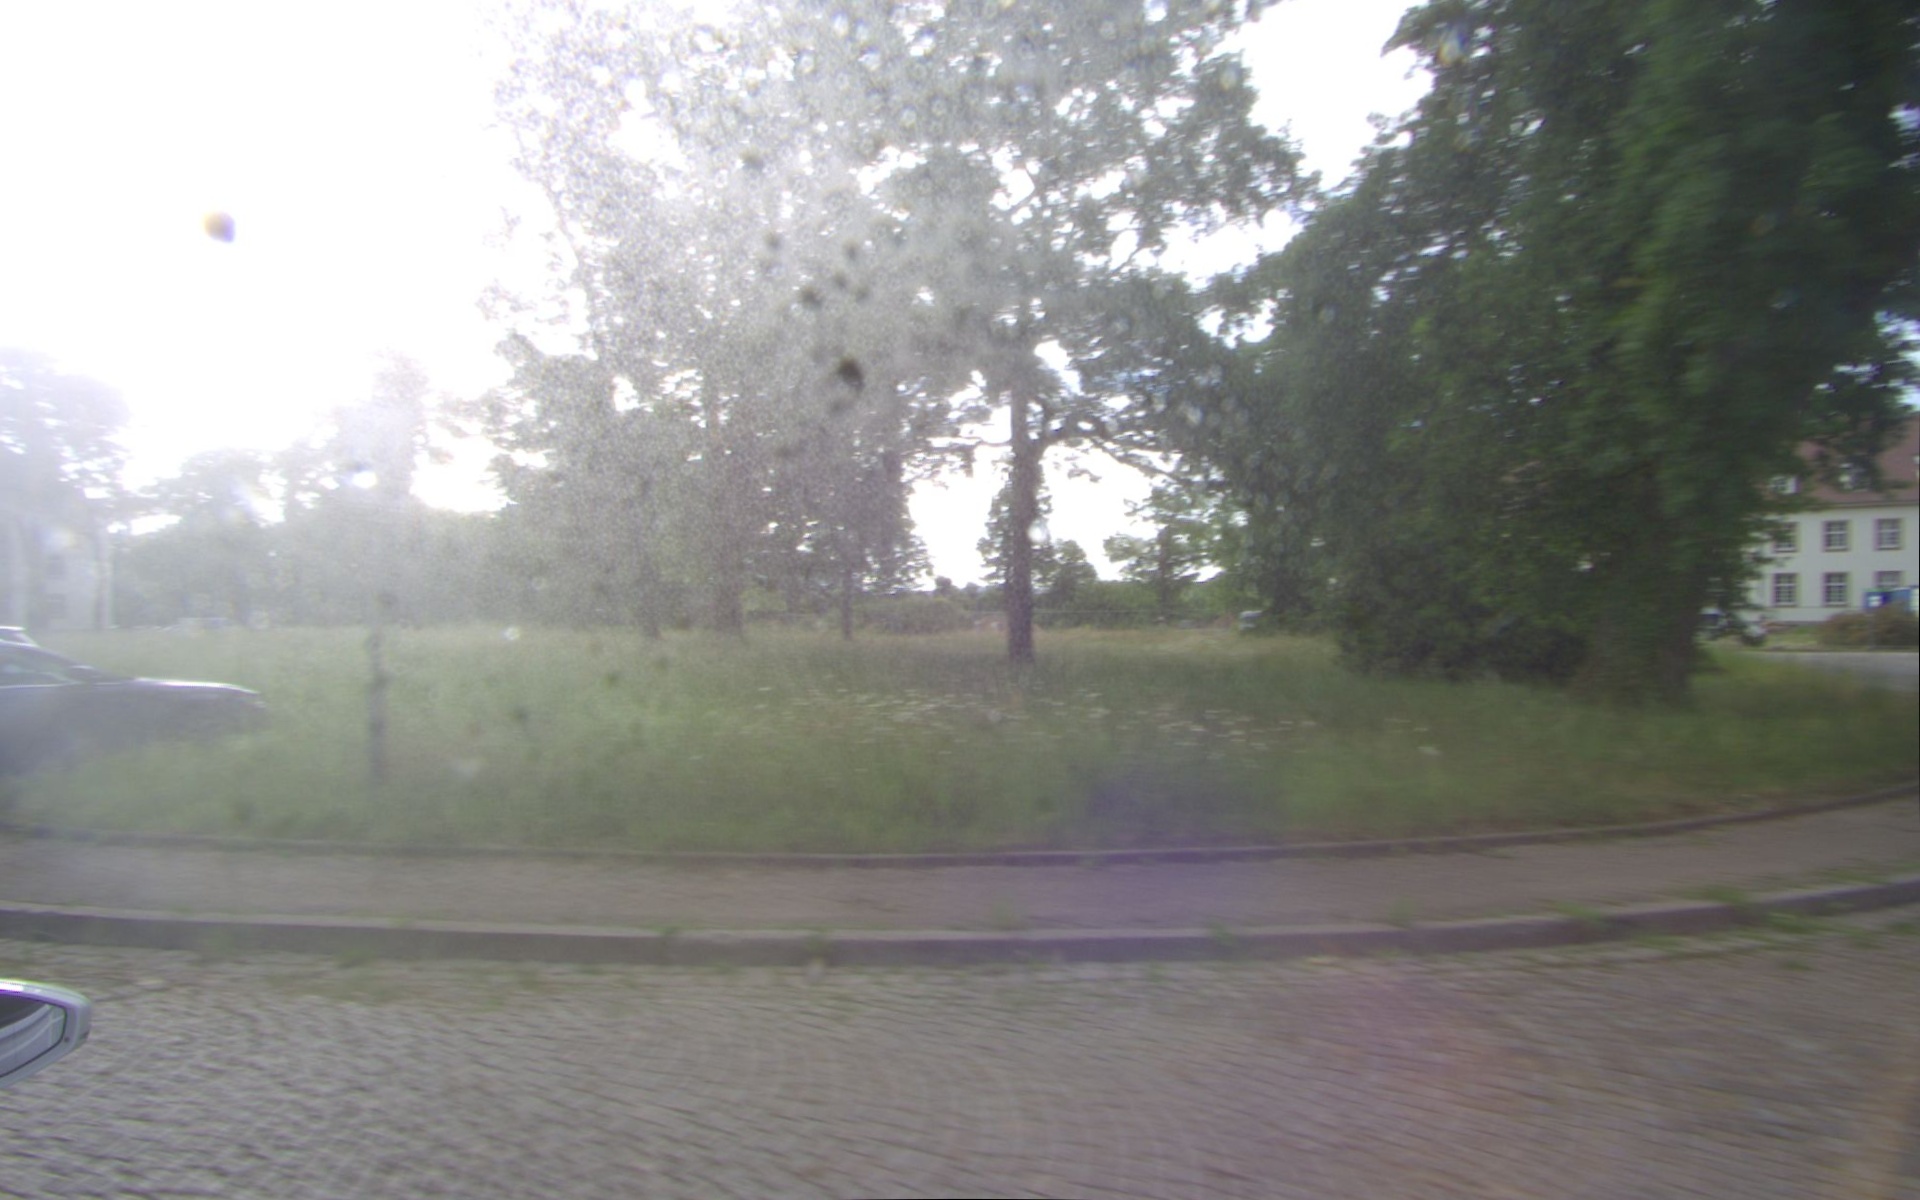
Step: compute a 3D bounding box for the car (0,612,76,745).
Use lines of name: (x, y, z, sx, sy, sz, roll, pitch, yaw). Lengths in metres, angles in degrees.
car: (-13.330, 0.975, 11.605, 1.857, 1.644, 4.243, 0, 0, 27)

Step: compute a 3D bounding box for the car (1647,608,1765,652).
car: (40.352, 1.596, 54.309, 4.864, 2.334, 1.916, 0, -1, 29)

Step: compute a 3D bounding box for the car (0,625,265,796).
car: (-9.312, 1.010, 9.264, 1.898, 1.458, 4.350, 0, 0, 30)

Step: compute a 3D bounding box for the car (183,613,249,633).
car: (-80.288, 2.465, 108.117, 2.074, 2.045, 5.297, -1, -3, 29)
